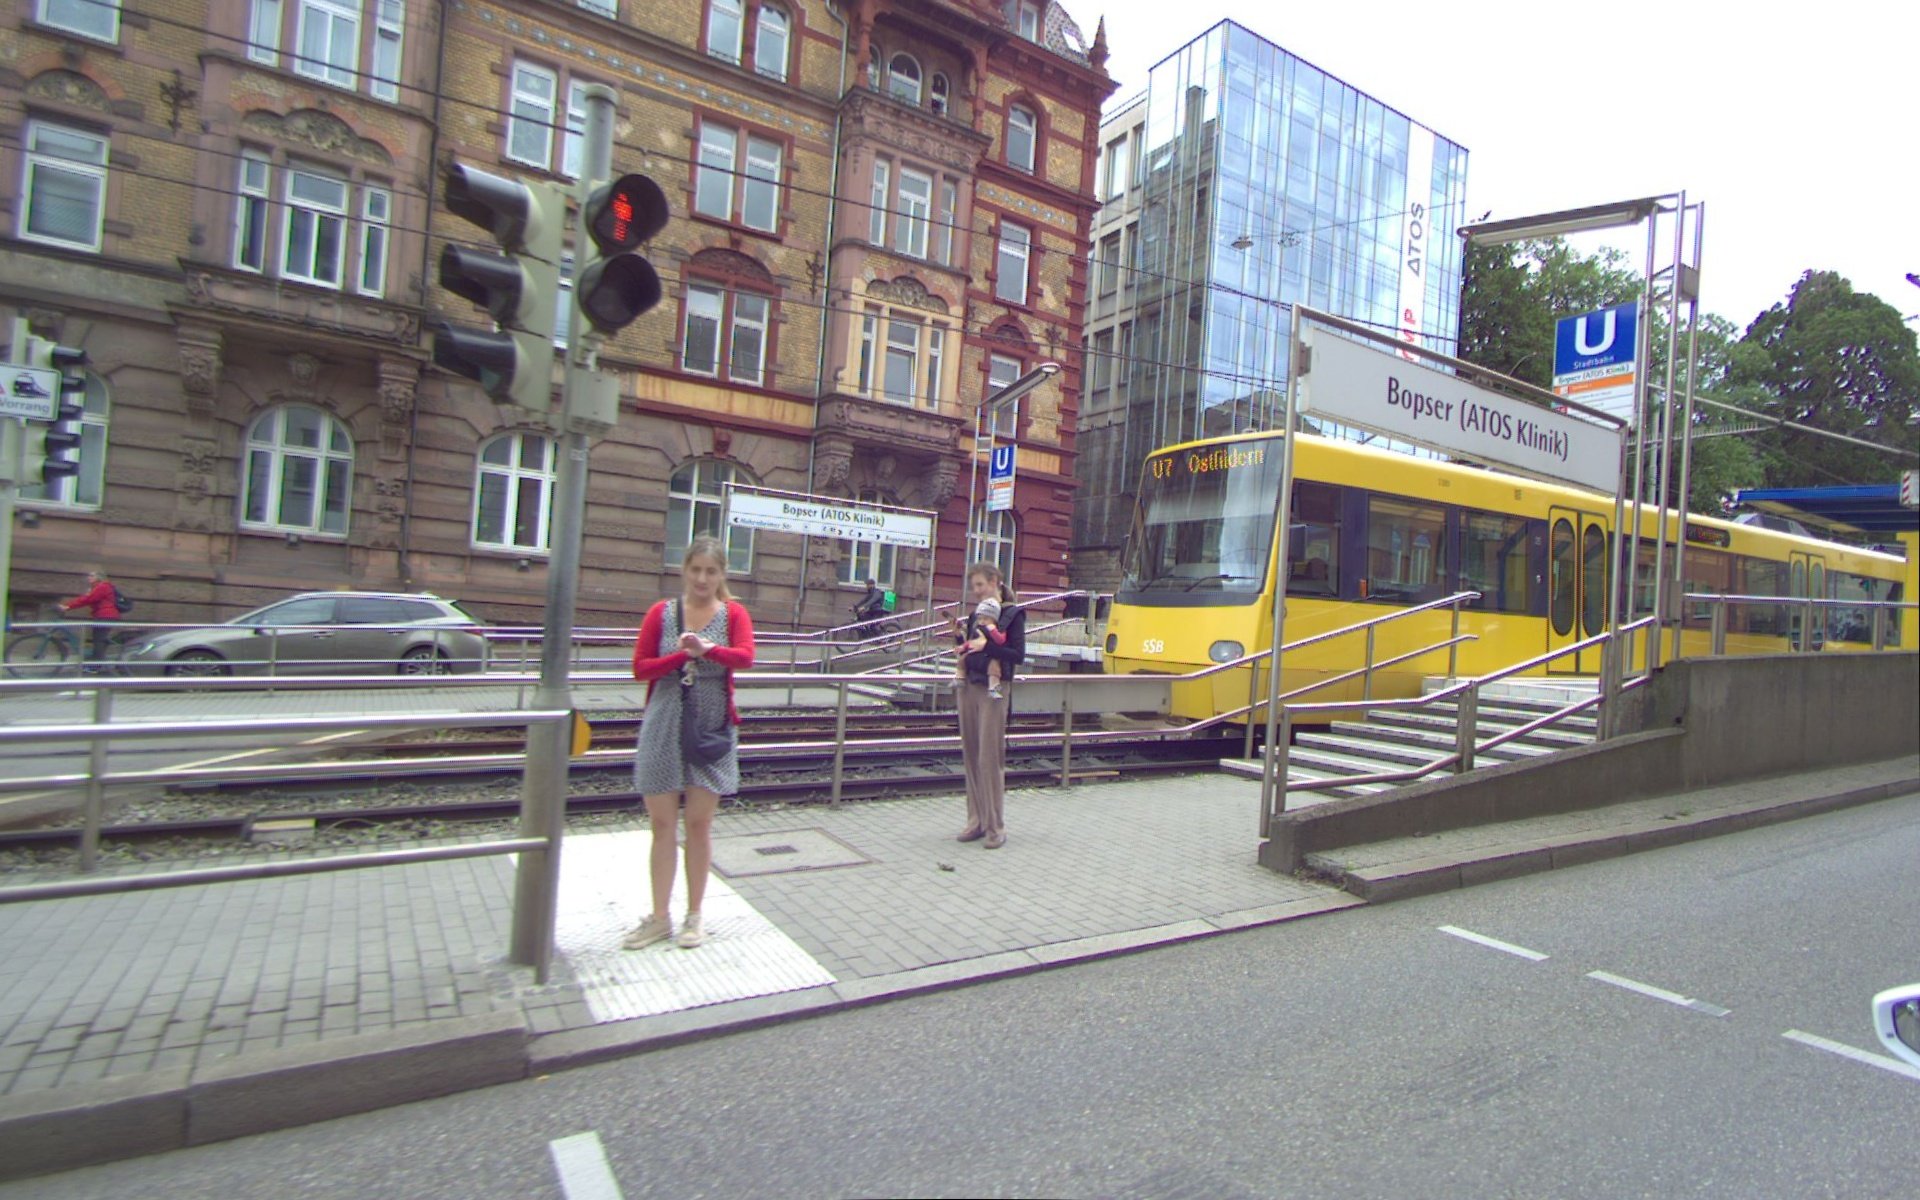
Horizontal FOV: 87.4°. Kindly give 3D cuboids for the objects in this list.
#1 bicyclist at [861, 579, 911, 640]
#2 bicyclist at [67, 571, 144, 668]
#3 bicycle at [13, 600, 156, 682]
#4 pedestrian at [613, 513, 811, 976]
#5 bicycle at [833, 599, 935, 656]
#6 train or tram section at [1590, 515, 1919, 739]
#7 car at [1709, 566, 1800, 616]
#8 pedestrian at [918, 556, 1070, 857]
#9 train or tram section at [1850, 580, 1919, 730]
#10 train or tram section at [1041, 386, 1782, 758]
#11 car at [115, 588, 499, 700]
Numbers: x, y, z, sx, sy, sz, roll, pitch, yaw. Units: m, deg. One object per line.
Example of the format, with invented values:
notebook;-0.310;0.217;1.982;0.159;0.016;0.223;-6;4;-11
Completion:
bicyclist;-1.785;0.223;24.187;0.897;1.447;0.763;1;0;-35
bicyclist;-13.592;0.309;16.000;0.802;1.500;0.616;1;0;-29
bicycle;-13.744;0.638;15.822;1.581;1.239;0.622;1;0;-28
pedestrian;-1.041;0.537;4.138;0.675;1.702;0.677;1;0;-22
bicycle;-1.806;0.665;24.162;2.402;1.301;0.768;1;0;-36
train or tram section;17.562;0.877;20.321;12.082;3.516;2.935;5;-3;-31
car;35.831;-0.392;45.284;3.957;2.040;1.982;2;1;-33
pedestrian;0.207;0.610;6.180;0.655;1.717;0.616;1;0;-40
train or tram section;27.842;1.628;26.565;12.080;3.529;2.935;4;-2;-31
train or tram section;7.049;0.093;14.112;12.258;3.589;2.934;4;-2;-31
car;-9.444;0.593;14.924;4.510;1.437;1.872;1;0;-33
